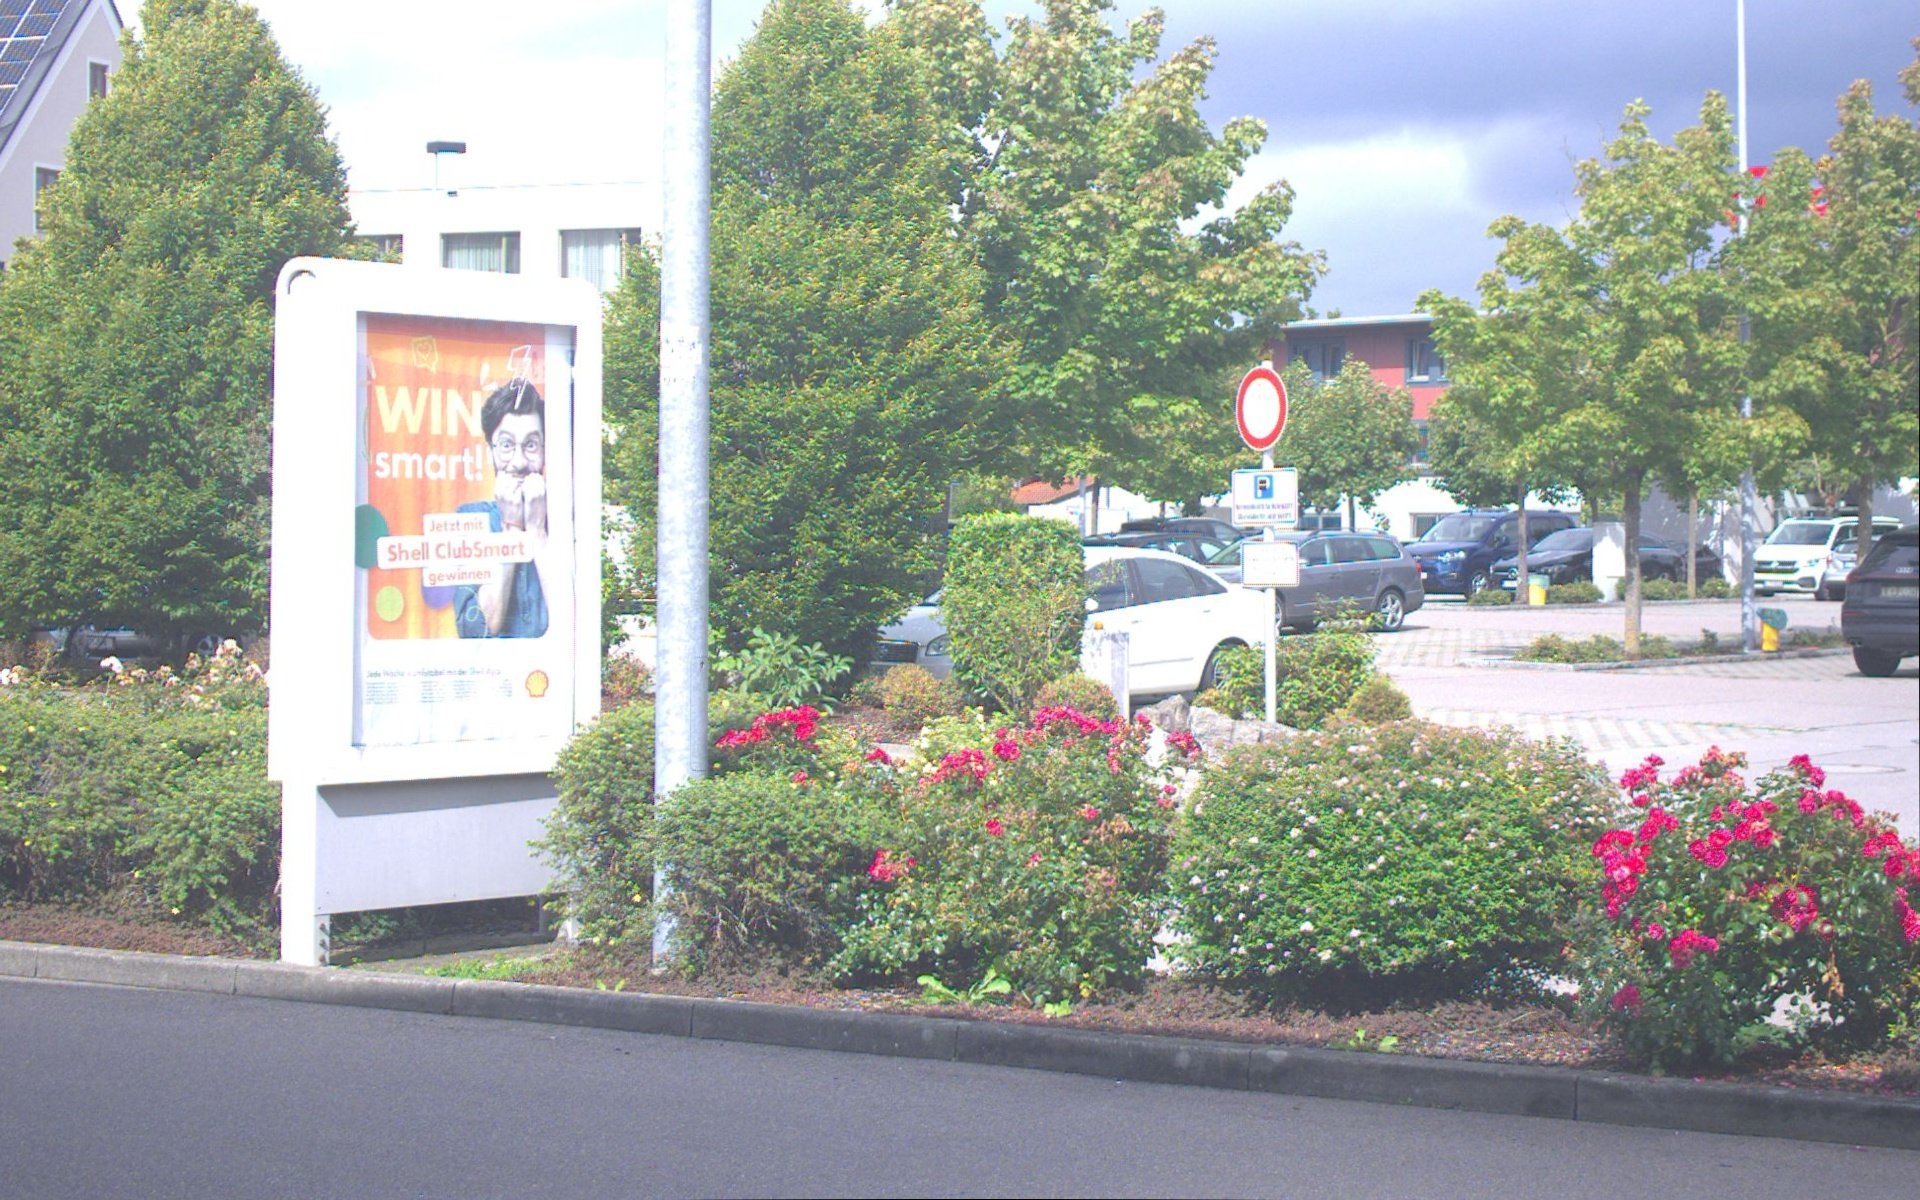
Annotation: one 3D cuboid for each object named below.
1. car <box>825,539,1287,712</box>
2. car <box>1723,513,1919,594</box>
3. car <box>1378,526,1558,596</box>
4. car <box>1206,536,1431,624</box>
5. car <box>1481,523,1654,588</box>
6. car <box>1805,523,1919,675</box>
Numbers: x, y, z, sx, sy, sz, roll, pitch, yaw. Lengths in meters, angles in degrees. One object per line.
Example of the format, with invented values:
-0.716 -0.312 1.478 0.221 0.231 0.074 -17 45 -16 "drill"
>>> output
0.902 0.204 29.934 4.332 1.399 1.370 0 1 -44 "car"
20.246 -1.081 80.648 4.864 1.827 2.184 0 1 -43 "car"
9.885 -0.755 66.790 3.379 1.316 1.747 0 1 -44 "car"
5.200 -0.287 49.723 3.218 1.224 1.505 0 1 -44 "car"
11.513 -0.836 65.042 3.409 1.174 1.485 0 1 -44 "car"
11.131 -0.005 36.737 4.491 1.543 1.885 0 1 -43 "car"
